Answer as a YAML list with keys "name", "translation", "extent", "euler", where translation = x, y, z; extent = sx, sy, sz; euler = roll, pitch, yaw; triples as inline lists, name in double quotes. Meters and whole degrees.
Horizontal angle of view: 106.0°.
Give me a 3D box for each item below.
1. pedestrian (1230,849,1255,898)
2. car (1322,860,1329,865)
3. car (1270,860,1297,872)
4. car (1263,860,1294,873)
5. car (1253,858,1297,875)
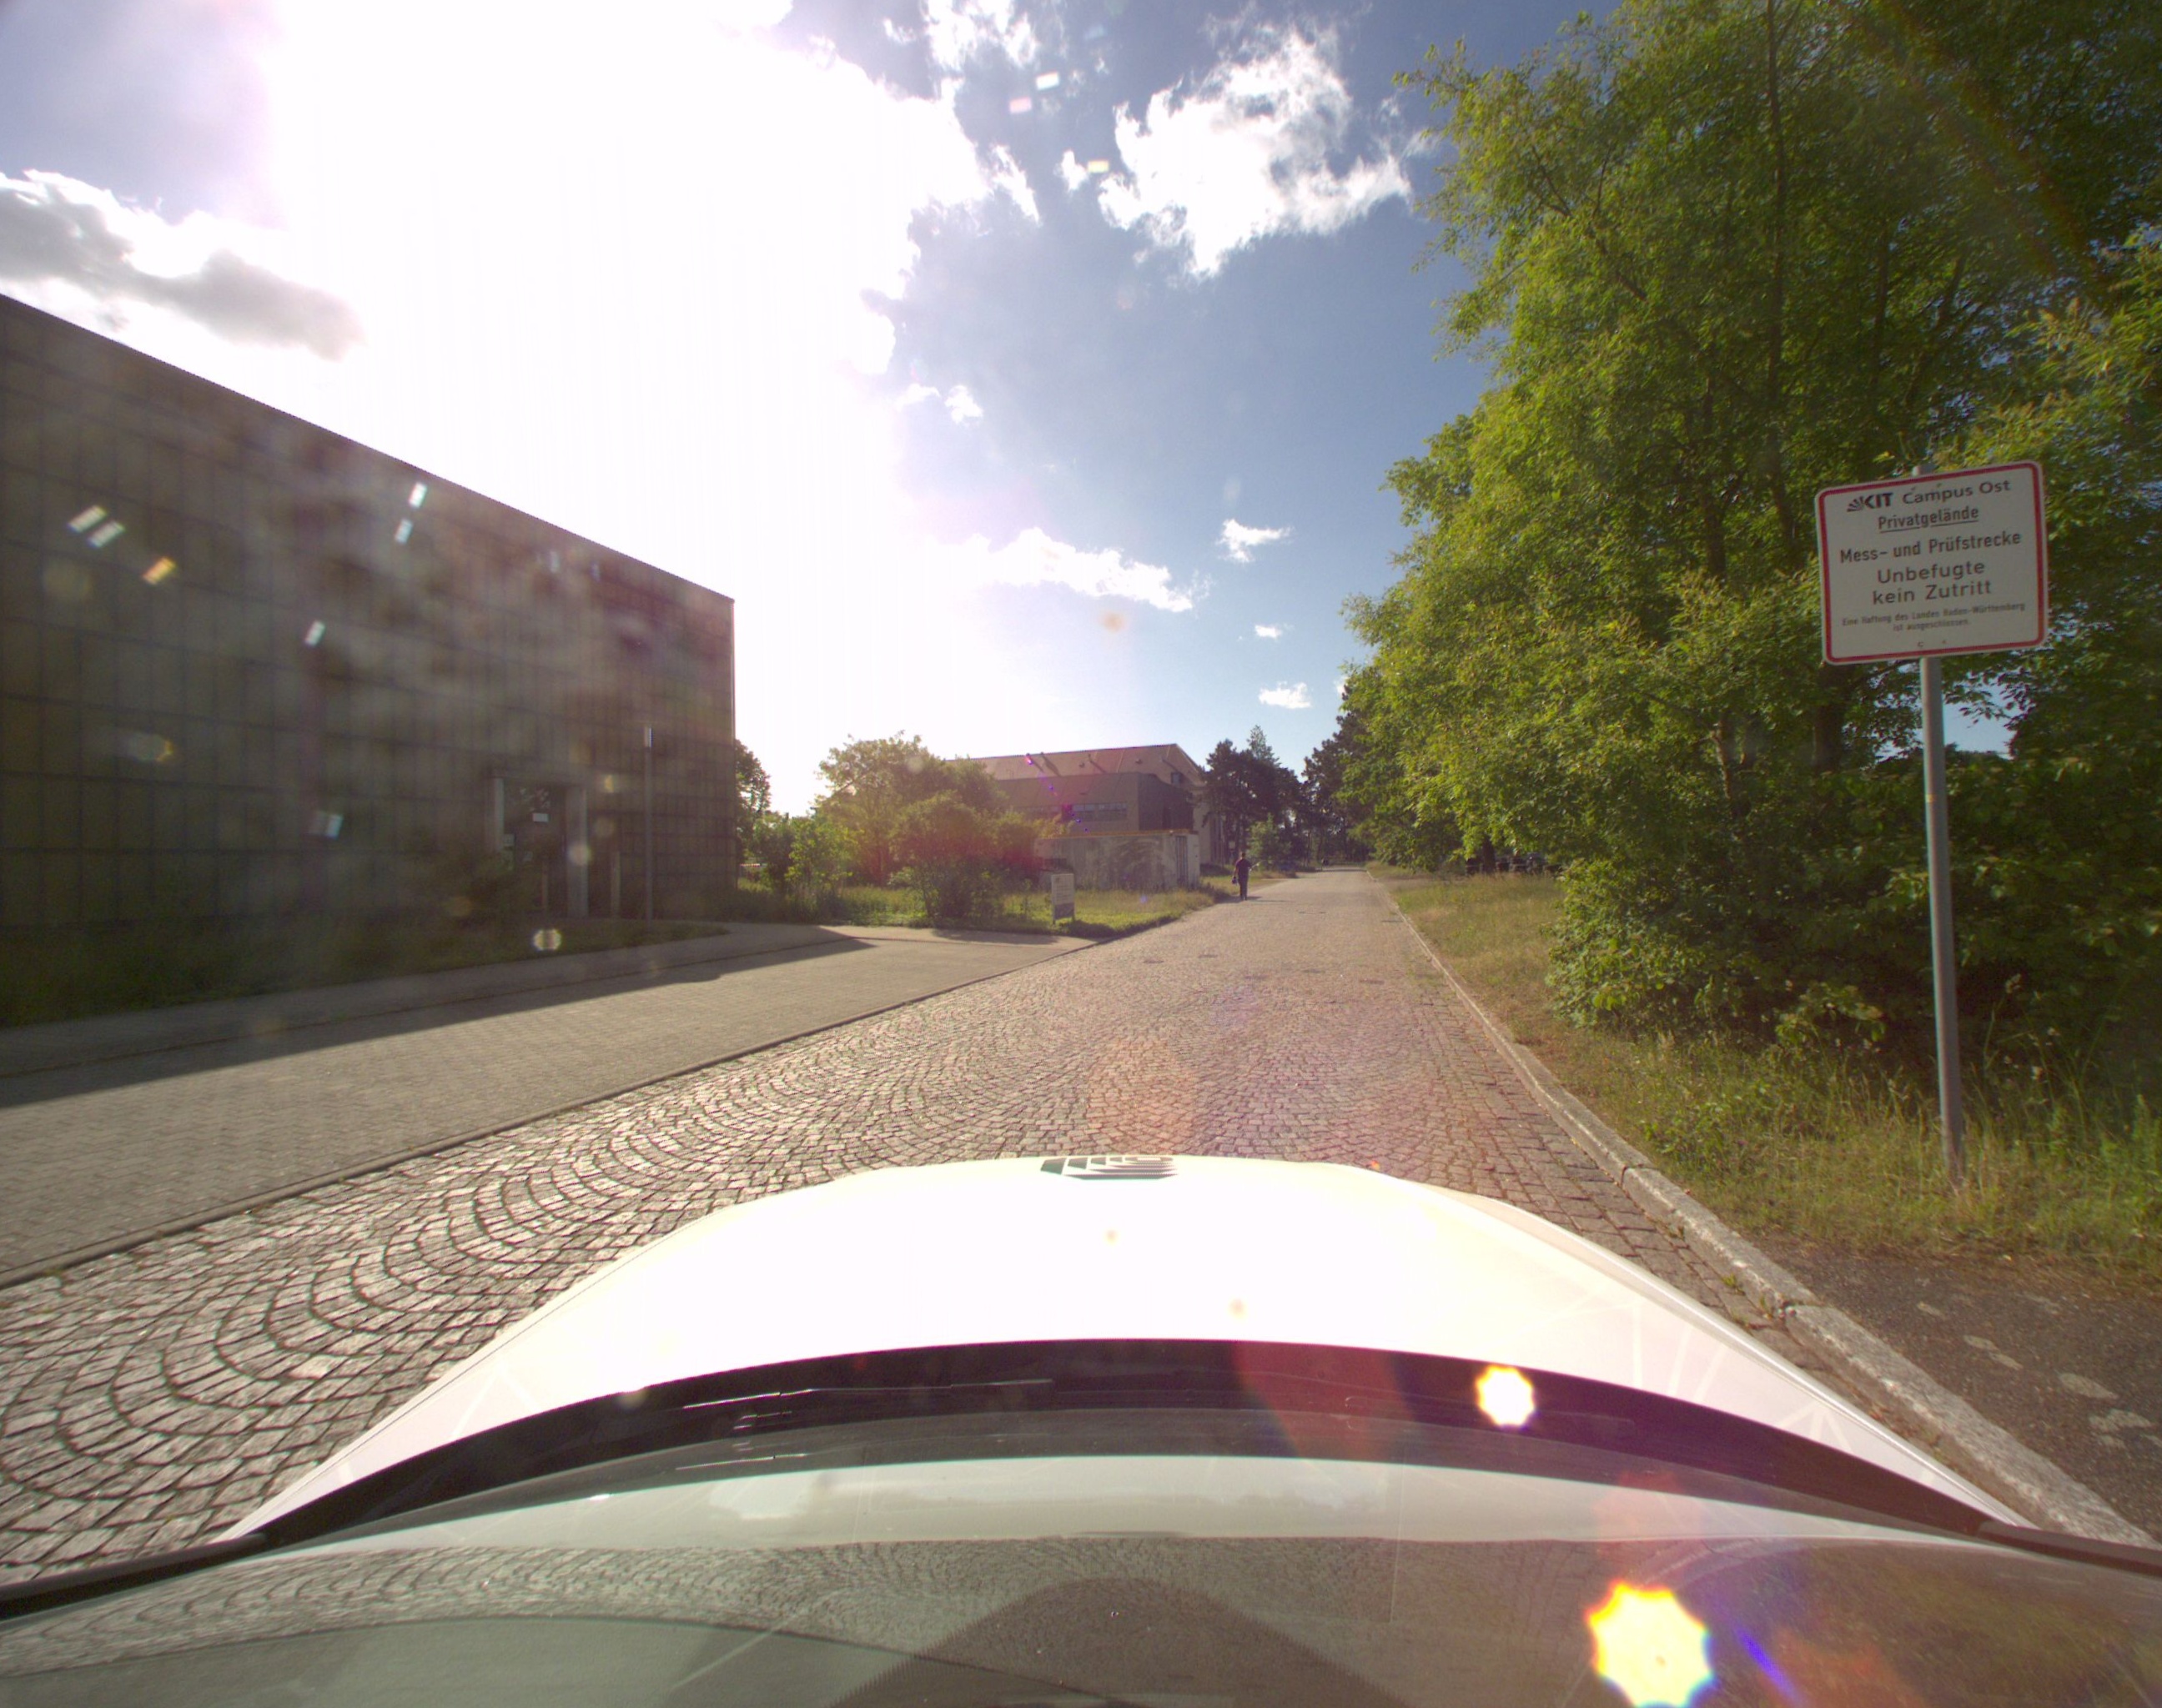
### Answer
- name: "pedestrian"
  translation: [6.048, 0.713, 30.459]
  extent: [0.789, 1.781, 1.073]
  euler: [0, -1, 17]
- name: "car"
  translation: [57.445, 1.986, 191.279]
  extent: [1.359, 1.099, 2.875]
  euler: [-1, -1, 16]
- name: "car"
  translation: [22.541, 1.343, 90.652]
  extent: [2.836, 1.206, 1.378]
  euler: [-1, -1, 10]
- name: "car"
  translation: [19.784, 1.274, 81.622]
  extent: [2.884, 1.259, 1.291]
  euler: [-1, -1, 10]
- name: "car"
  translation: [17.820, 1.160, 74.712]
  extent: [3.804, 1.441, 1.590]
  euler: [-1, -1, 16]
